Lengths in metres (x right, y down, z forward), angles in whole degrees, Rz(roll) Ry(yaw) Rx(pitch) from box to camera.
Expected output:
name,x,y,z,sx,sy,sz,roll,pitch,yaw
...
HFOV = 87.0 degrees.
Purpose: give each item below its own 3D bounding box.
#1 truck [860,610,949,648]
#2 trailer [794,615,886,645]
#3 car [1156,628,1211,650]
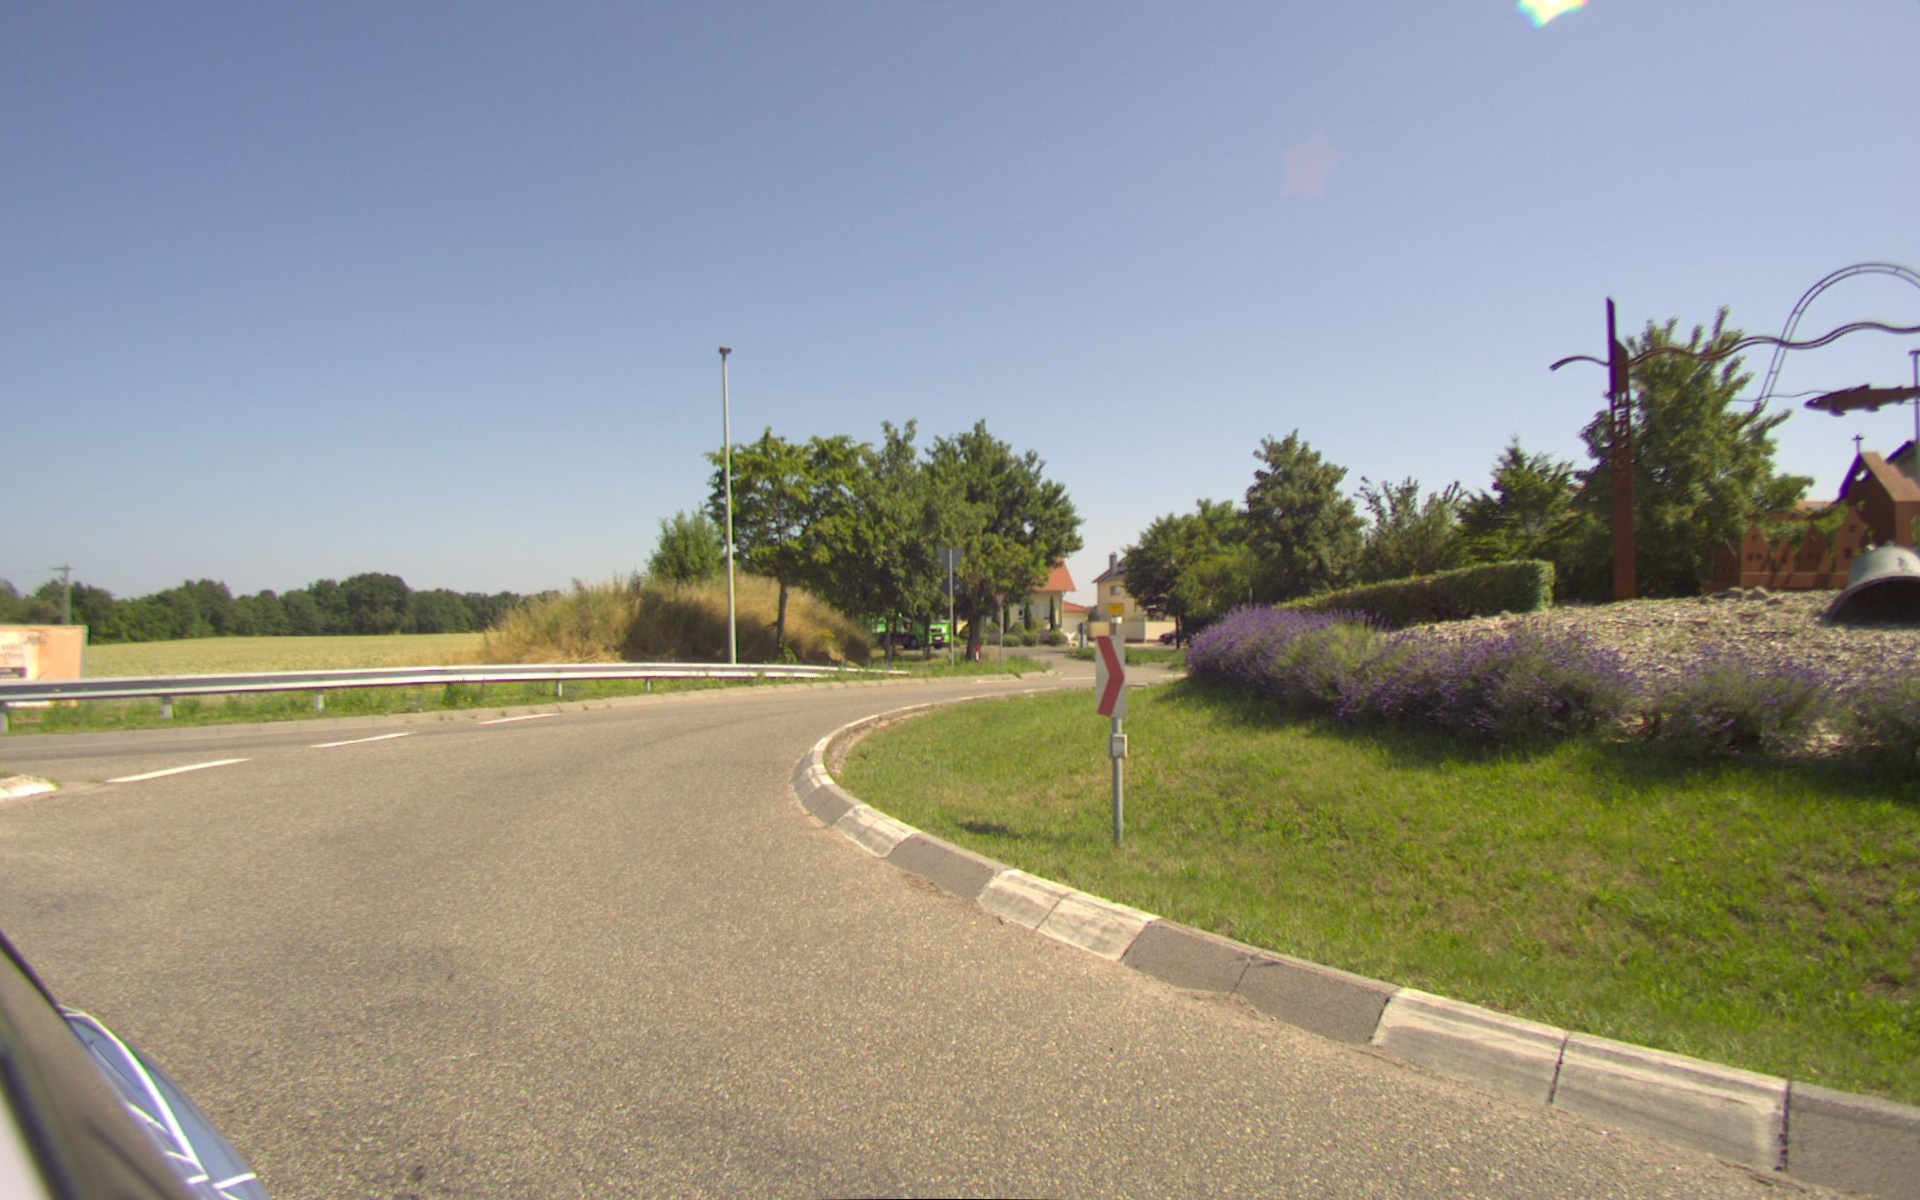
name,x,y,z,sx,sy,sz,roll,pitch,yaw
truck,-4.209,2.084,74.806,2.482,2.669,7.699,0,-1,-40
trailer,-9.898,2.349,81.933,1.968,2.295,10.509,0,-1,-40
car,16.886,2.927,76.591,3.669,1.515,1.614,0,-1,-12
